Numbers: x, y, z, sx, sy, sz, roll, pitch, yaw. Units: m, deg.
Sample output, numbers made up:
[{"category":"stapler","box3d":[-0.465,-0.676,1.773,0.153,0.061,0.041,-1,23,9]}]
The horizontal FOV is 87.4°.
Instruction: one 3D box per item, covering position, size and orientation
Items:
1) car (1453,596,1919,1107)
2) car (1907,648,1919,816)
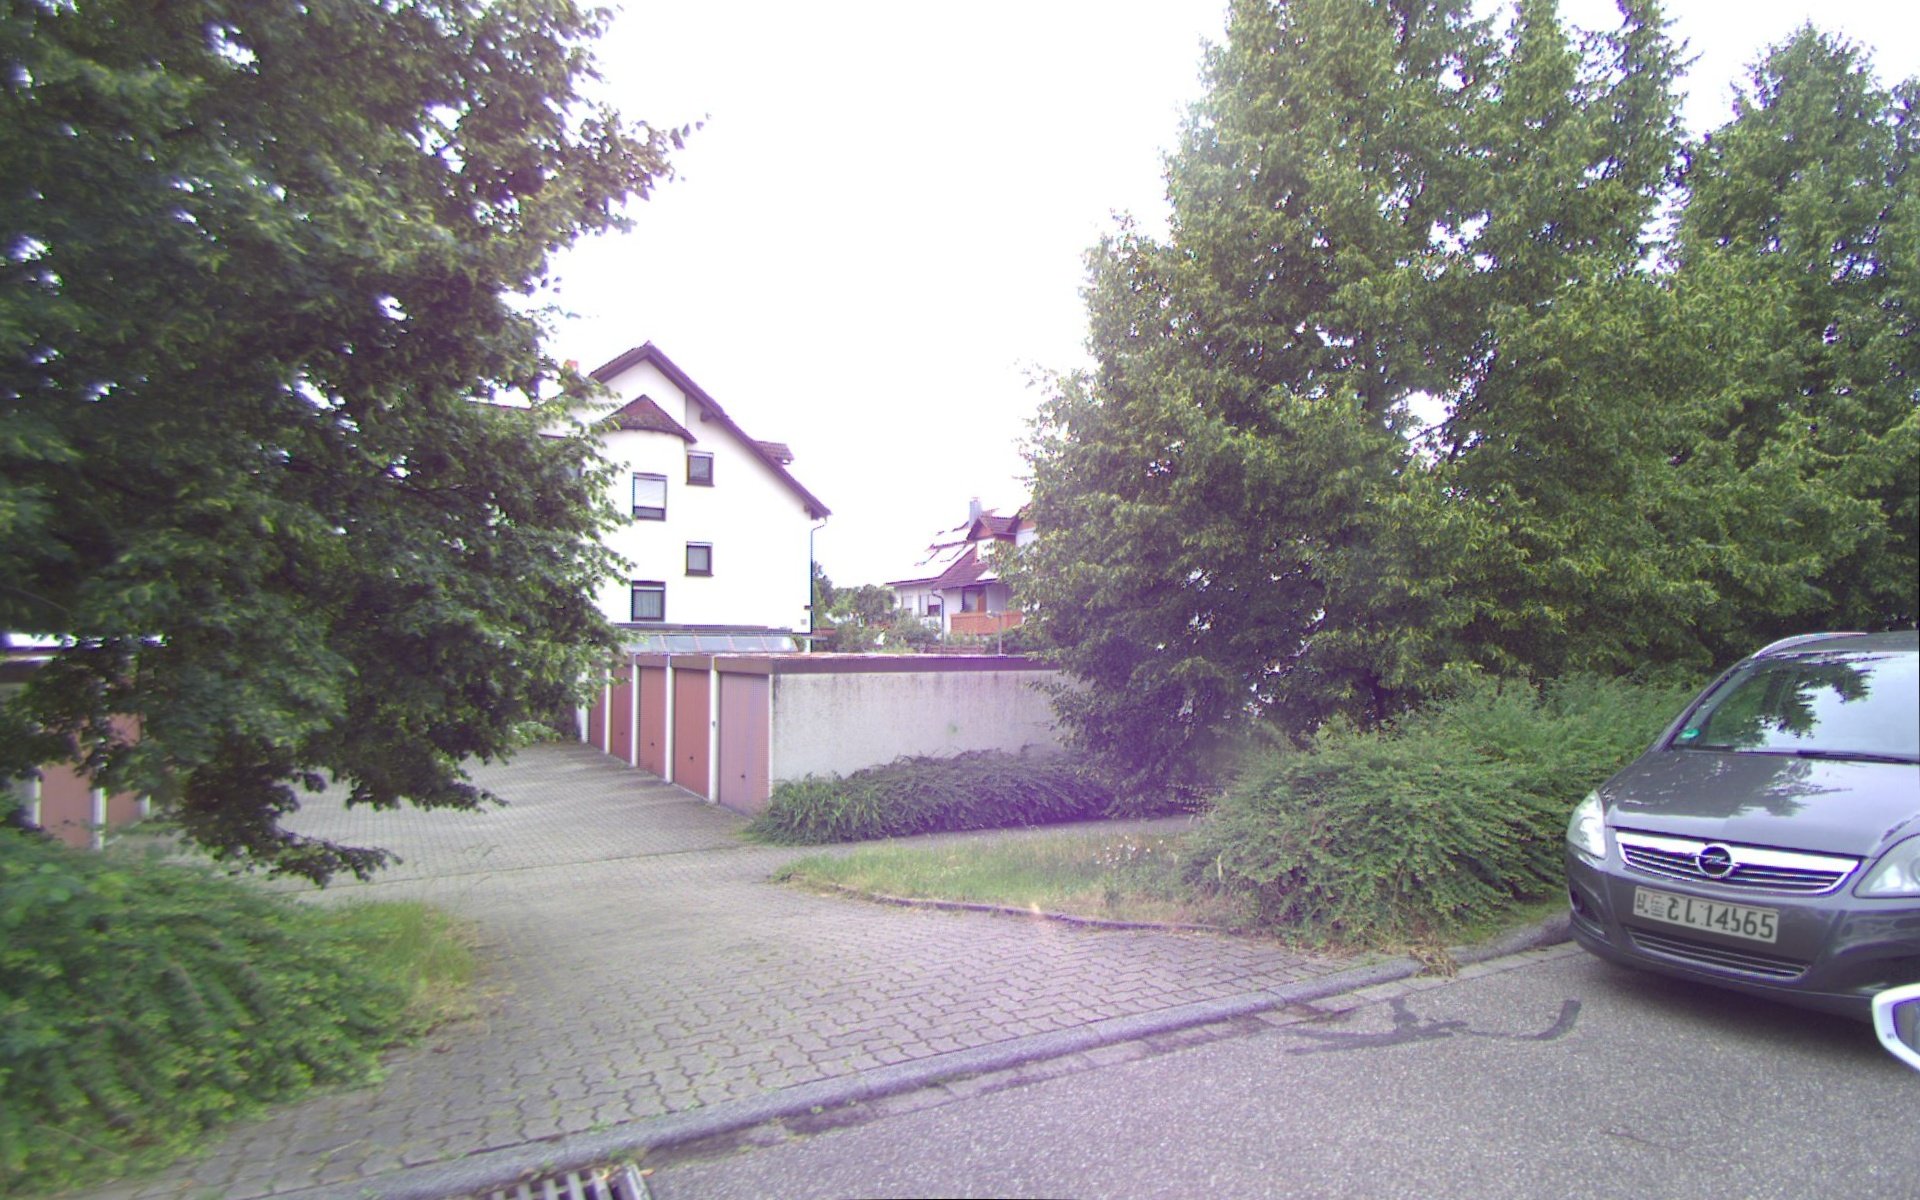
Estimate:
[{"category":"car","box3d":[4.684,0.903,4.919,4.496,1.614,1.751,1,-5,-28]},{"category":"car","box3d":[9.335,1.082,7.557,4.248,1.497,1.753,1,-5,-26]}]
